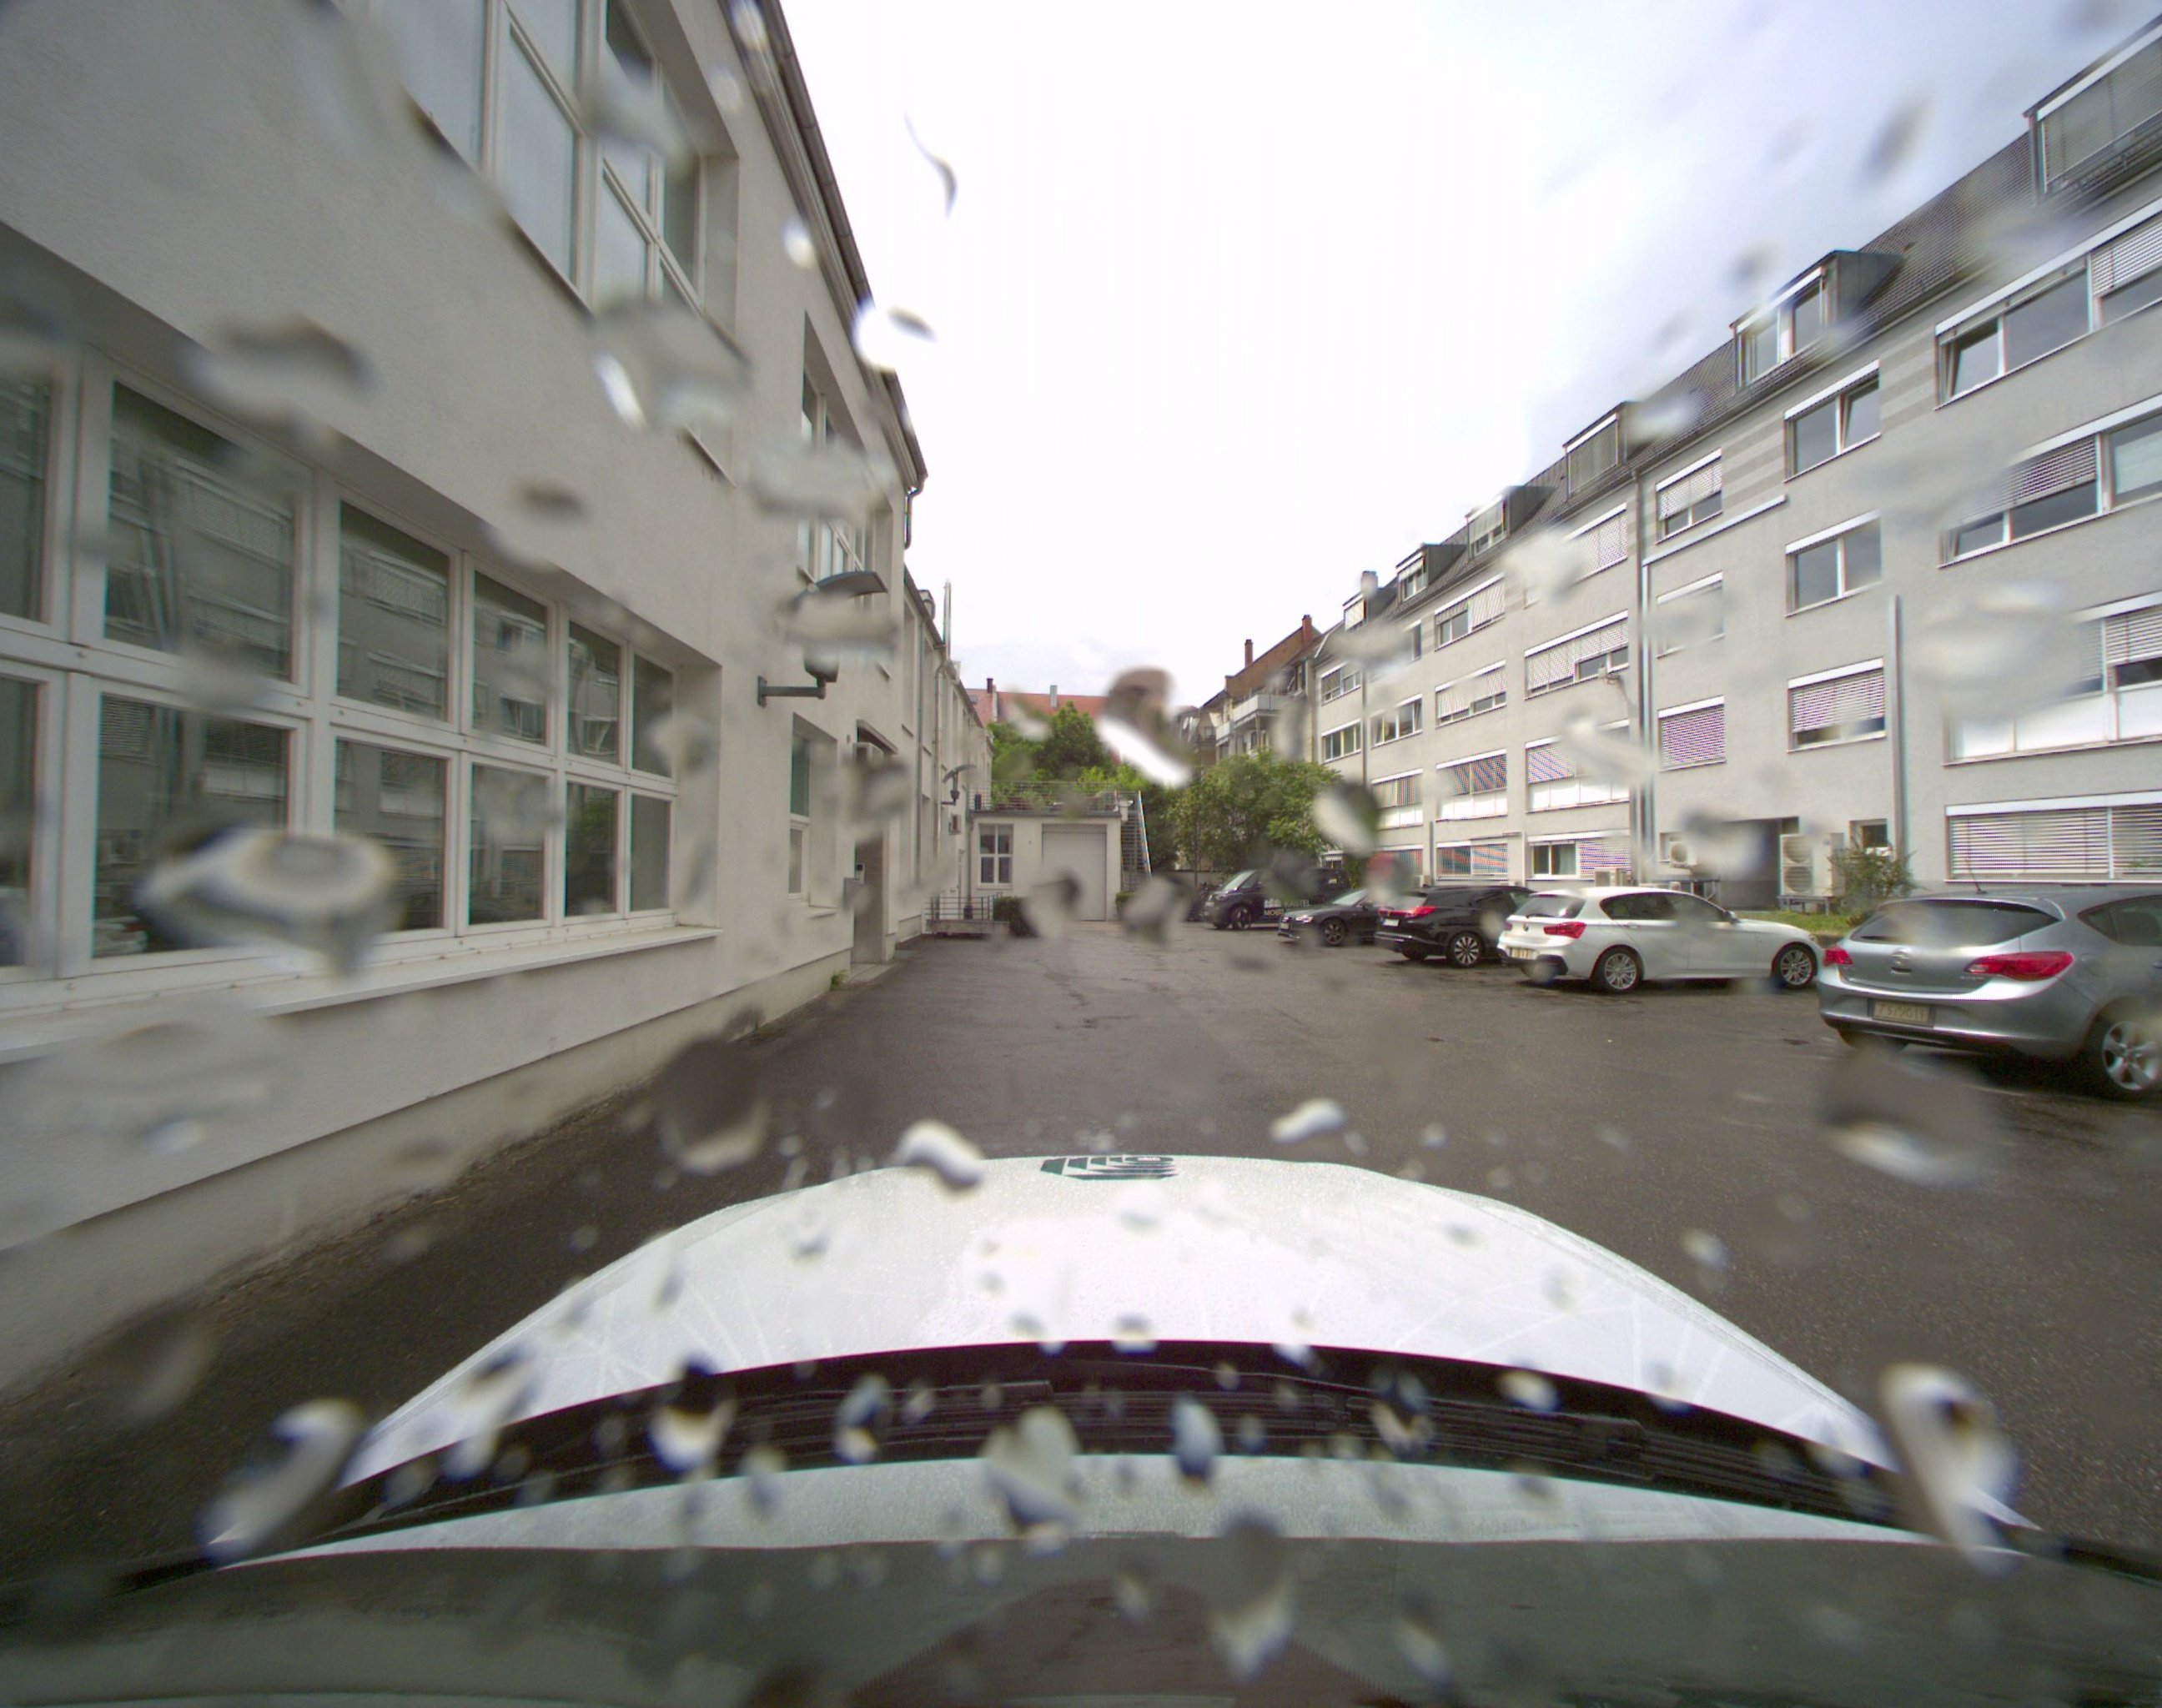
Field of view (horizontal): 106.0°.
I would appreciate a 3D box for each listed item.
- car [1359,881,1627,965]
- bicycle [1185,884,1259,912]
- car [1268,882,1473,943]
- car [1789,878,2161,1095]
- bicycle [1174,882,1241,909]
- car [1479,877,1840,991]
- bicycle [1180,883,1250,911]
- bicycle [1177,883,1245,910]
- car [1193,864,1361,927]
[{"bbox_3d":[7.641,1.231,15.316,4.169,1.401,1.933,0,-2,-9],"label":"car"},{"bbox_3d":[5.878,1.831,34.023,2.919,1.078,0.688,2,-1,-6],"label":"bicycle"},{"bbox_3d":[6.970,1.364,19.813,4.352,1.349,1.854,0,-1,-9],"label":"car"},{"bbox_3d":[8.379,0.930,6.589,4.075,1.458,1.664,0,-3,-6],"label":"car"},{"bbox_3d":[5.600,1.848,36.220,2.839,1.078,0.688,2,-1,-6],"label":"bicycle"},{"bbox_3d":[8.244,1.076,11.815,4.093,1.455,1.829,0,-2,-7],"label":"car"},{"bbox_3d":[5.701,1.834,34.788,2.839,1.078,0.688,2,-1,-6],"label":"bicycle"},{"bbox_3d":[5.654,1.841,35.509,2.839,1.078,0.688,2,-1,-6],"label":"bicycle"},{"bbox_3d":[6.088,1.273,25.591,4.708,1.833,2.104,0,-2,-9],"label":"car"}]
